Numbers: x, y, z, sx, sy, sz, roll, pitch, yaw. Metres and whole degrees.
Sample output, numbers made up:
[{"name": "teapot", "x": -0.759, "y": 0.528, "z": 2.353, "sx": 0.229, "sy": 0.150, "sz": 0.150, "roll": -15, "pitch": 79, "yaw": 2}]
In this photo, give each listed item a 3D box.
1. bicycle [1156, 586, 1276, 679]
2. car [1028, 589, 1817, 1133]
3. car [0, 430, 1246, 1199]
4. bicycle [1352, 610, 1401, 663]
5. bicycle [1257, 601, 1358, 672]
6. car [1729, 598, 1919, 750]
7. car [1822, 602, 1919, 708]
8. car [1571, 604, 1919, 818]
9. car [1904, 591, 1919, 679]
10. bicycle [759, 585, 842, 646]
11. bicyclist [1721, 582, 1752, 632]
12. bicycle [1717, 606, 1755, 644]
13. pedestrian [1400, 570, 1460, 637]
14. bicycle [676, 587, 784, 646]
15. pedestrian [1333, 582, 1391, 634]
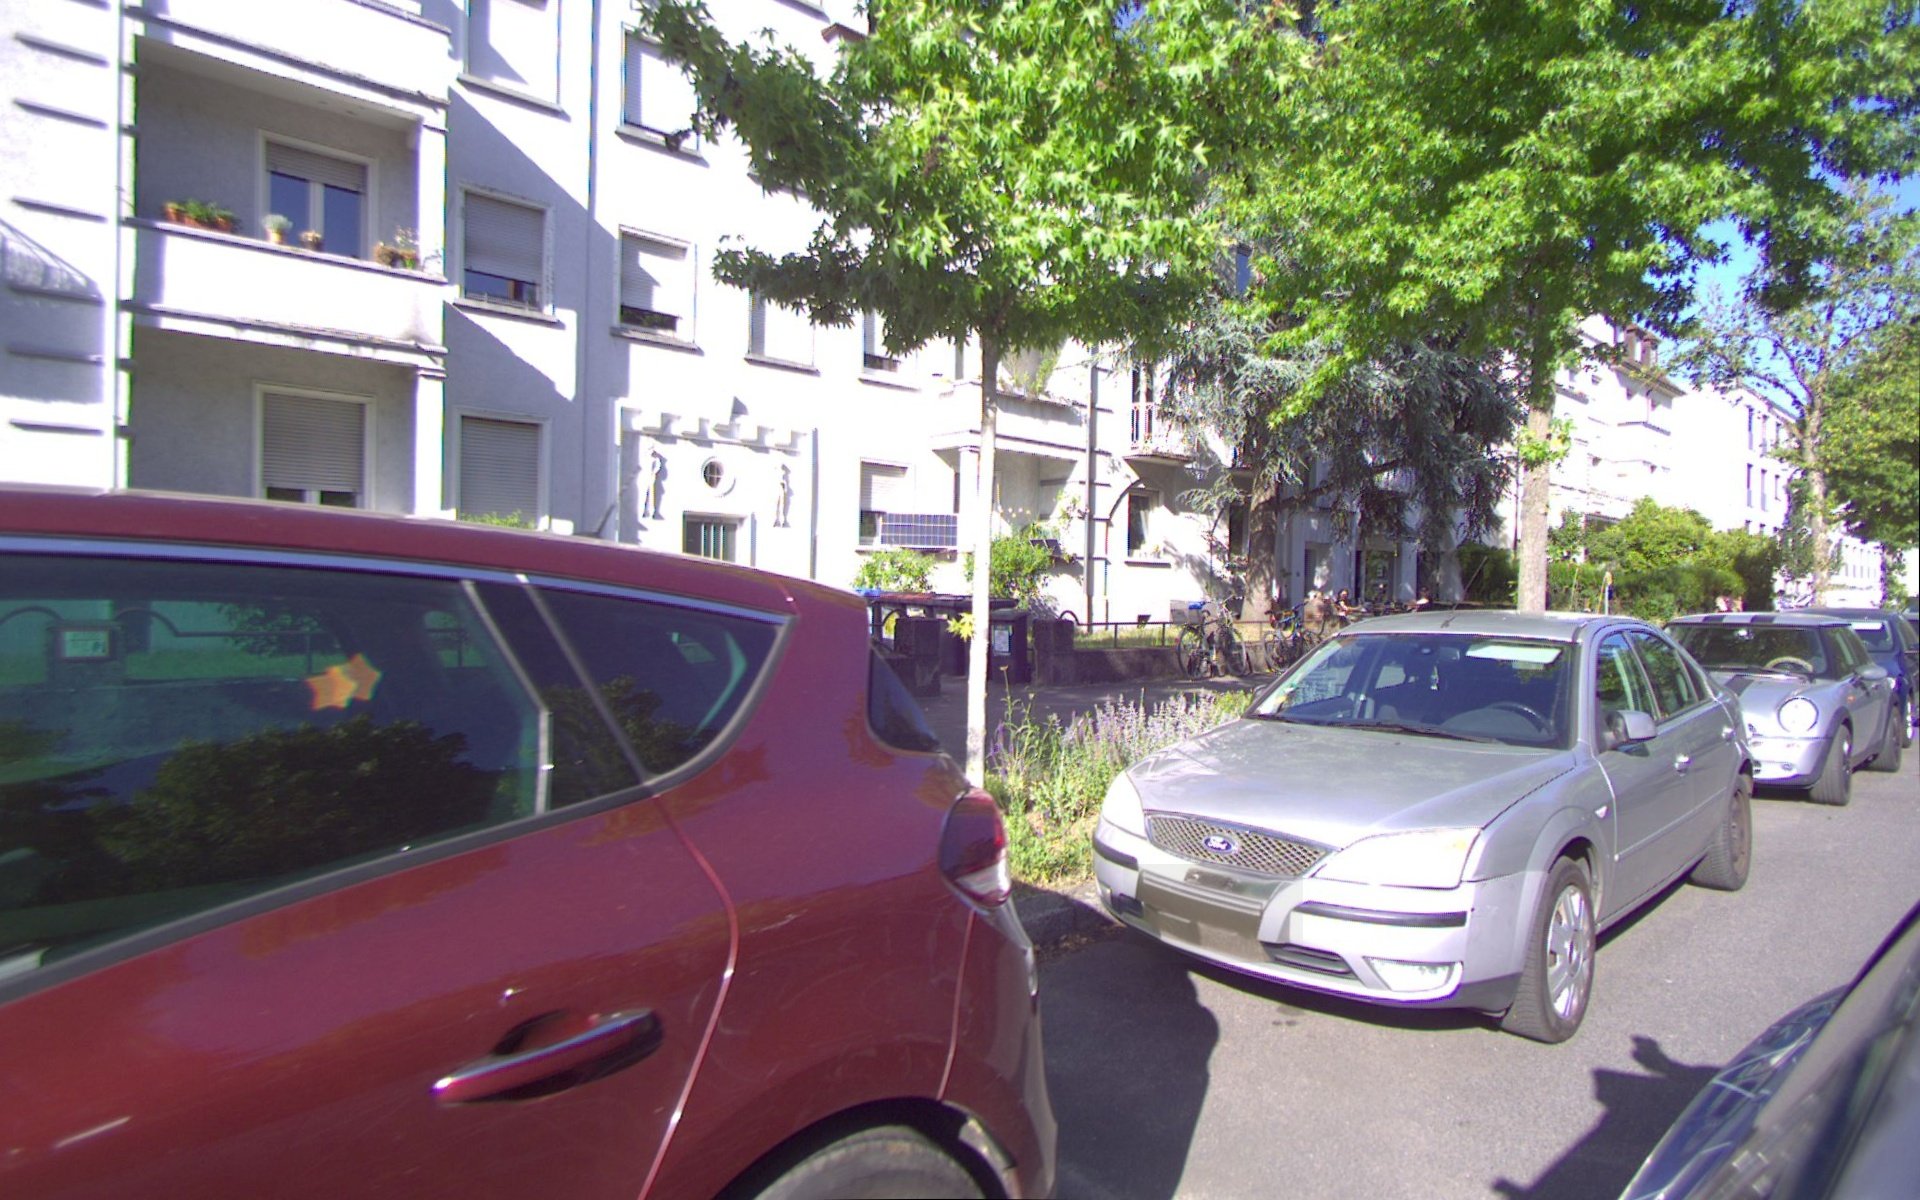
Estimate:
[{"name": "bicycle", "x": 3.586, "y": 0.411, "z": 14.068, "sx": 2.138, "sy": 1.212, "sz": 0.489, "roll": 0, "pitch": -1, "yaw": -42}, {"name": "car", "x": 2.514, "y": 0.697, "z": 4.860, "sx": 4.411, "sy": 1.424, "sz": 1.715, "roll": -1, "pitch": 3, "yaw": -40}, {"name": "car", "x": -1.835, "y": 0.608, "z": 1.143, "sx": 4.513, "sy": 1.586, "sz": 1.934, "roll": -1, "pitch": 4, "yaw": -40}, {"name": "bicycle", "x": 7.108, "y": 0.608, "z": 17.253, "sx": 1.032, "sy": 0.860, "sz": 0.331, "roll": 1, "pitch": 1, "yaw": -41}, {"name": "bicycle", "x": 5.442, "y": 0.548, "z": 15.779, "sx": 2.211, "sy": 1.025, "sz": 0.432, "roll": 0, "pitch": -4, "yaw": -43}, {"name": "car", "x": 10.403, "y": 0.736, "z": 11.825, "sx": 3.806, "sy": 1.482, "sz": 1.607, "roll": -1, "pitch": 0, "yaw": -43}, {"name": "car", "x": 14.541, "y": 0.761, "z": 15.468, "sx": 3.947, "sy": 1.442, "sz": 1.607, "roll": -1, "pitch": 0, "yaw": -43}, {"name": "car", "x": 6.916, "y": 0.762, "z": 8.730, "sx": 3.631, "sy": 1.415, "sz": 1.767, "roll": -1, "pitch": 0, "yaw": -41}, {"name": "car", "x": 19.984, "y": 0.635, "z": 19.913, "sx": 3.947, "sy": 1.657, "sz": 1.766, "roll": 0, "pitch": 0, "yaw": -43}, {"name": "bicycle", "x": -2.750, "y": 0.235, "z": 17.271, "sx": 0.548, "sy": 0.929, "sz": 2.037, "roll": 0, "pitch": 3, "yaw": -35}, {"name": "bicyclist", "x": 21.752, "y": 0.194, "z": 28.334, "sx": 0.706, "sy": 1.355, "sz": 0.497, "roll": 0, "pitch": 3, "yaw": -41}, {"name": "bicycle", "x": 21.661, "y": 0.688, "z": 28.253, "sx": 1.756, "sy": 0.973, "sz": 0.459, "roll": 0, "pitch": 3, "yaw": -41}, {"name": "pedestrian", "x": 10.206, "y": 0.067, "z": 21.992, "sx": 1.021, "sy": 1.395, "sz": 0.713, "roll": 1, "pitch": 1, "yaw": 15}, {"name": "bicycle", "x": -3.263, "y": 0.205, "z": 14.221, "sx": 0.615, "sy": 0.779, "sz": 2.064, "roll": 0, "pitch": 1, "yaw": -40}, {"name": "pedestrian", "x": 9.096, "y": 0.171, "z": 22.925, "sx": 1.033, "sy": 1.157, "sz": 0.705, "roll": 0, "pitch": 0, "yaw": 44}]
